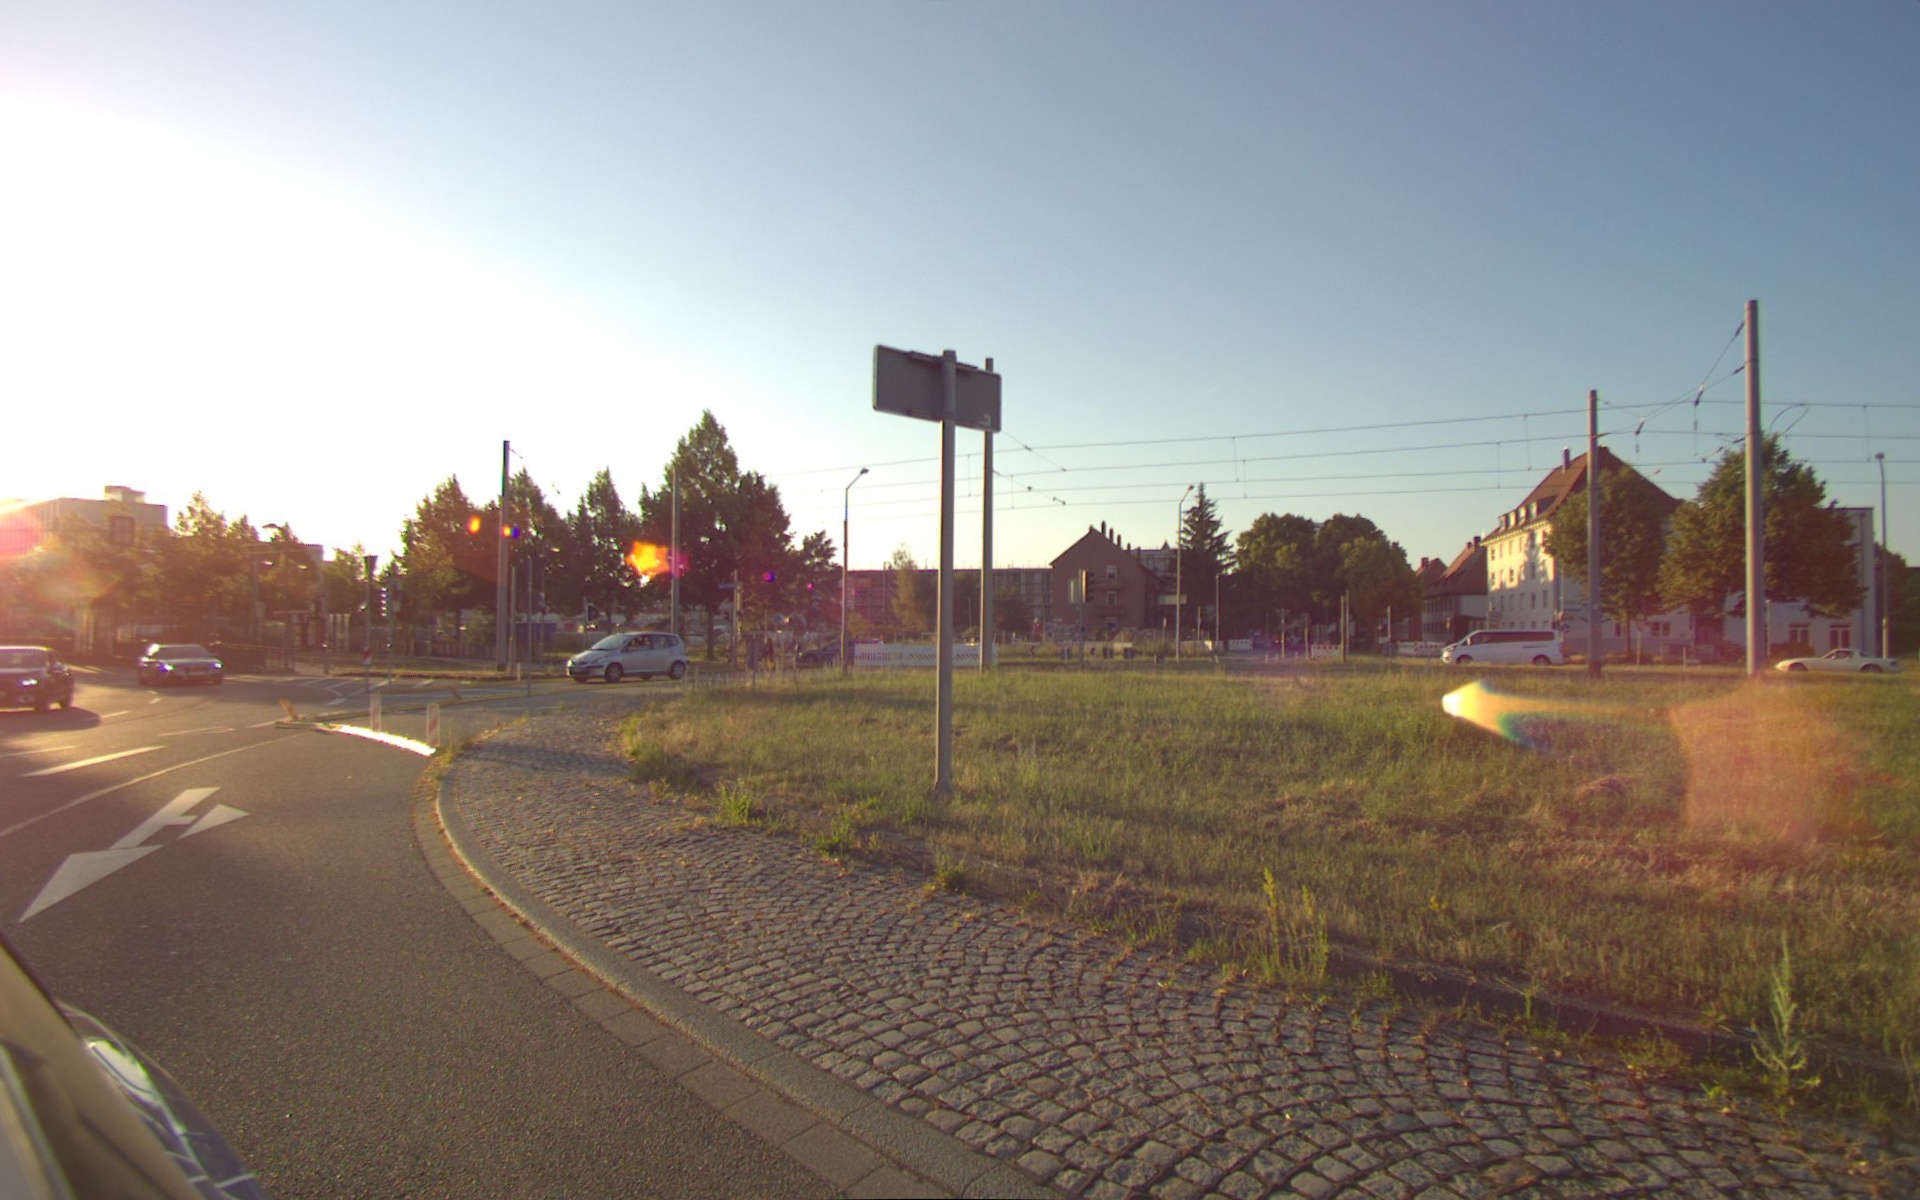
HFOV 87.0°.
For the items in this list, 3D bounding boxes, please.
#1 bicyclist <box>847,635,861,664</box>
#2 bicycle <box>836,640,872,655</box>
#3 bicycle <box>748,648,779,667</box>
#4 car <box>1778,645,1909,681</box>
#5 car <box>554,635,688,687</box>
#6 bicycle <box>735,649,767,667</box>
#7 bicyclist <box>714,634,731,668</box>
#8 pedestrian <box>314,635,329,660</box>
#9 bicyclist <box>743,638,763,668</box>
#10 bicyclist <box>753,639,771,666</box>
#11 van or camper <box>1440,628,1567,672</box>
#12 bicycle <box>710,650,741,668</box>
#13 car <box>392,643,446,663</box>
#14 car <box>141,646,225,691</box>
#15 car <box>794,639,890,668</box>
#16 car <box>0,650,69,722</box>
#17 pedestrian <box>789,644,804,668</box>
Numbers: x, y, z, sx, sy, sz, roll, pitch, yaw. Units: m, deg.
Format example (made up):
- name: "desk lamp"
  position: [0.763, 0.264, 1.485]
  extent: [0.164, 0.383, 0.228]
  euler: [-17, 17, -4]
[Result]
- name: "bicyclist"
  position: [-6.296, 2.930, 59.981]
  extent: [0.786, 1.646, 0.696]
  euler: [0, -2, -6]
- name: "bicycle"
  position: [-6.307, 2.798, 60.057]
  extent: [2.102, 0.852, 0.513]
  euler: [0, -2, -6]
- name: "bicycle"
  position: [-10.997, 3.217, 56.702]
  extent: [0.536, 0.988, 1.820]
  euler: [-2, -3, 38]
- name: "car"
  position: [34.982, 2.447, 40.126]
  extent: [1.556, 1.265, 3.784]
  euler: [0, -1, -44]
- name: "car"
  position: [-10.251, 1.827, 30.832]
  extent: [1.602, 1.476, 3.668]
  euler: [-2, -3, 34]
- name: "bicycle"
  position: [-11.792, 3.257, 57.183]
  extent: [0.549, 0.988, 1.820]
  euler: [-2, -3, 38]
- name: "bicyclist"
  position: [-13.521, 2.894, 57.612]
  extent: [0.614, 1.933, 0.669]
  euler: [-2, -3, 38]
- name: "pedestrian"
  position: [-42.180, 3.116, 66.891]
  extent: [0.445, 1.645, 0.700]
  euler: [-2, -3, 33]
- name: "bicyclist"
  position: [-11.723, 2.995, 57.242]
  extent: [0.814, 1.653, 0.804]
  euler: [-2, -3, 38]
- name: "bicyclist"
  position: [-11.054, 2.937, 56.643]
  extent: [0.592, 1.517, 0.804]
  euler: [-2, -3, 38]
- name: "van or camper"
  position: [26.475, 2.460, 49.543]
  extent: [5.270, 2.025, 1.899]
  euler: [-2, -3, 24]
- name: "bicycle"
  position: [-13.379, 3.382, 57.757]
  extent: [0.549, 0.988, 1.820]
  euler: [-2, -3, 38]
- name: "car"
  position: [-37.355, 3.620, 69.864]
  extent: [3.994, 1.342, 1.811]
  euler: [-2, -3, 37]
- name: "car"
  position: [-27.024, 2.329, 35.130]
  extent: [1.776, 1.434, 4.452]
  euler: [2, -3, -44]
- name: "car"
  position: [-5.945, 2.696, 51.429]
  extent: [4.591, 1.426, 1.929]
  euler: [-1, -2, 4]
- name: "car"
  position: [-21.492, 1.884, 22.869]
  extent: [1.774, 1.475, 4.008]
  euler: [1, -3, -38]
- name: "pedestrian"
  position: [-9.714, 3.312, 60.175]
  extent: [0.694, 1.377, 0.611]
  euler: [-2, -3, 38]
